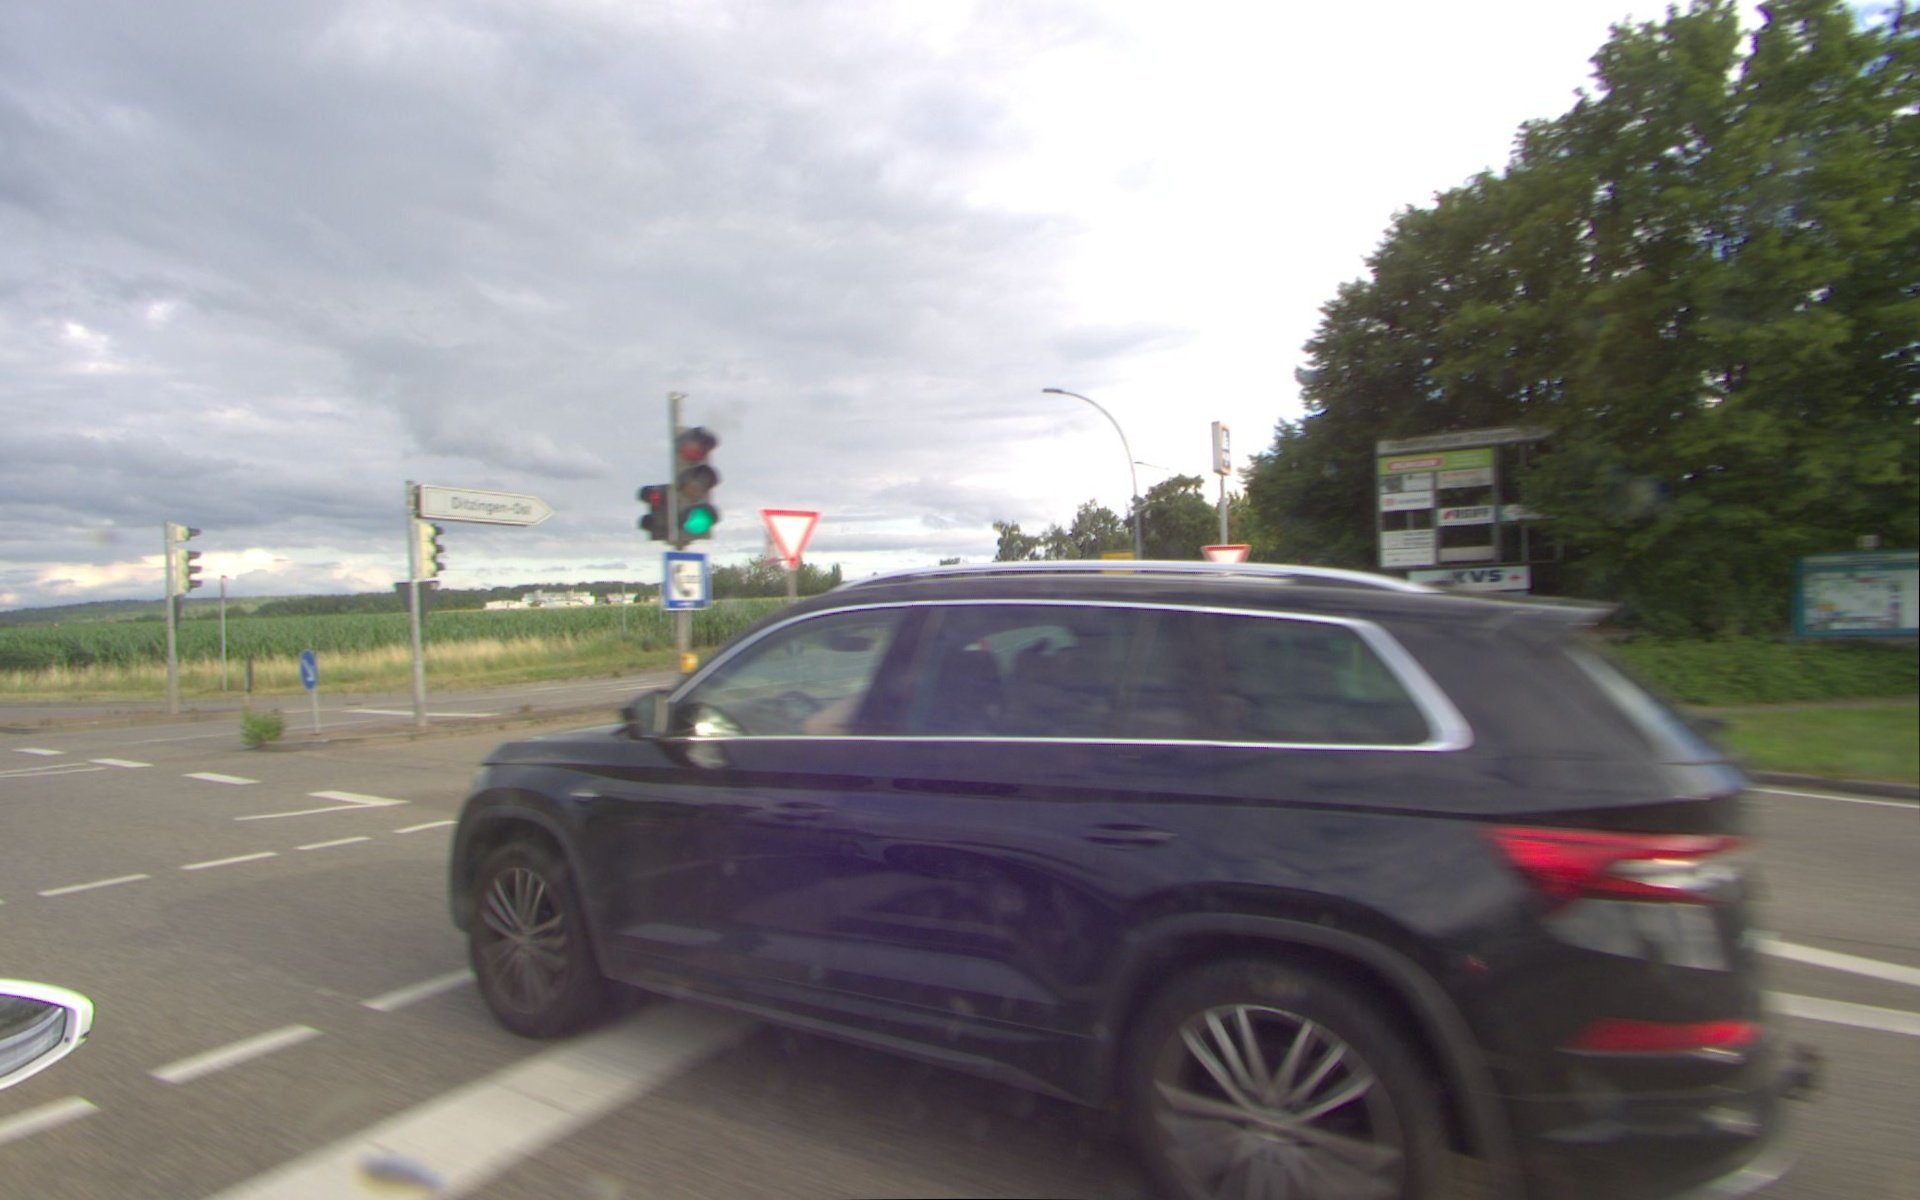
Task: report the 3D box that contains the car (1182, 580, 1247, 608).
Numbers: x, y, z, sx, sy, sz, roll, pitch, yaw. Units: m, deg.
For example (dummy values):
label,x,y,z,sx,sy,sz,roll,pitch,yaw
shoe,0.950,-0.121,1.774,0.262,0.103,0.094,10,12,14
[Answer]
label,x,y,z,sx,sy,sz,roll,pitch,yaw
car,18.640,-0.442,73.402,4.260,1.802,1.992,-2,0,26

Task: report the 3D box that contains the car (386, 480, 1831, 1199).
label,x,y,z,sx,sy,sz,roll,pitch,yaw
car,0.049,0.723,3.626,4.417,1.670,1.842,-2,-2,32

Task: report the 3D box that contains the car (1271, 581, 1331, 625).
label,x,y,z,sx,sy,sz,roll,pitch,yaw
car,16.372,0.111,47.957,1.932,1.909,4.284,-2,1,30

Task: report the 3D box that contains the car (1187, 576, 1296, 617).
label,x,y,z,sx,sy,sz,roll,pitch,yaw
car,15.545,-0.190,55.366,5.526,2.040,1.992,-2,0,26
